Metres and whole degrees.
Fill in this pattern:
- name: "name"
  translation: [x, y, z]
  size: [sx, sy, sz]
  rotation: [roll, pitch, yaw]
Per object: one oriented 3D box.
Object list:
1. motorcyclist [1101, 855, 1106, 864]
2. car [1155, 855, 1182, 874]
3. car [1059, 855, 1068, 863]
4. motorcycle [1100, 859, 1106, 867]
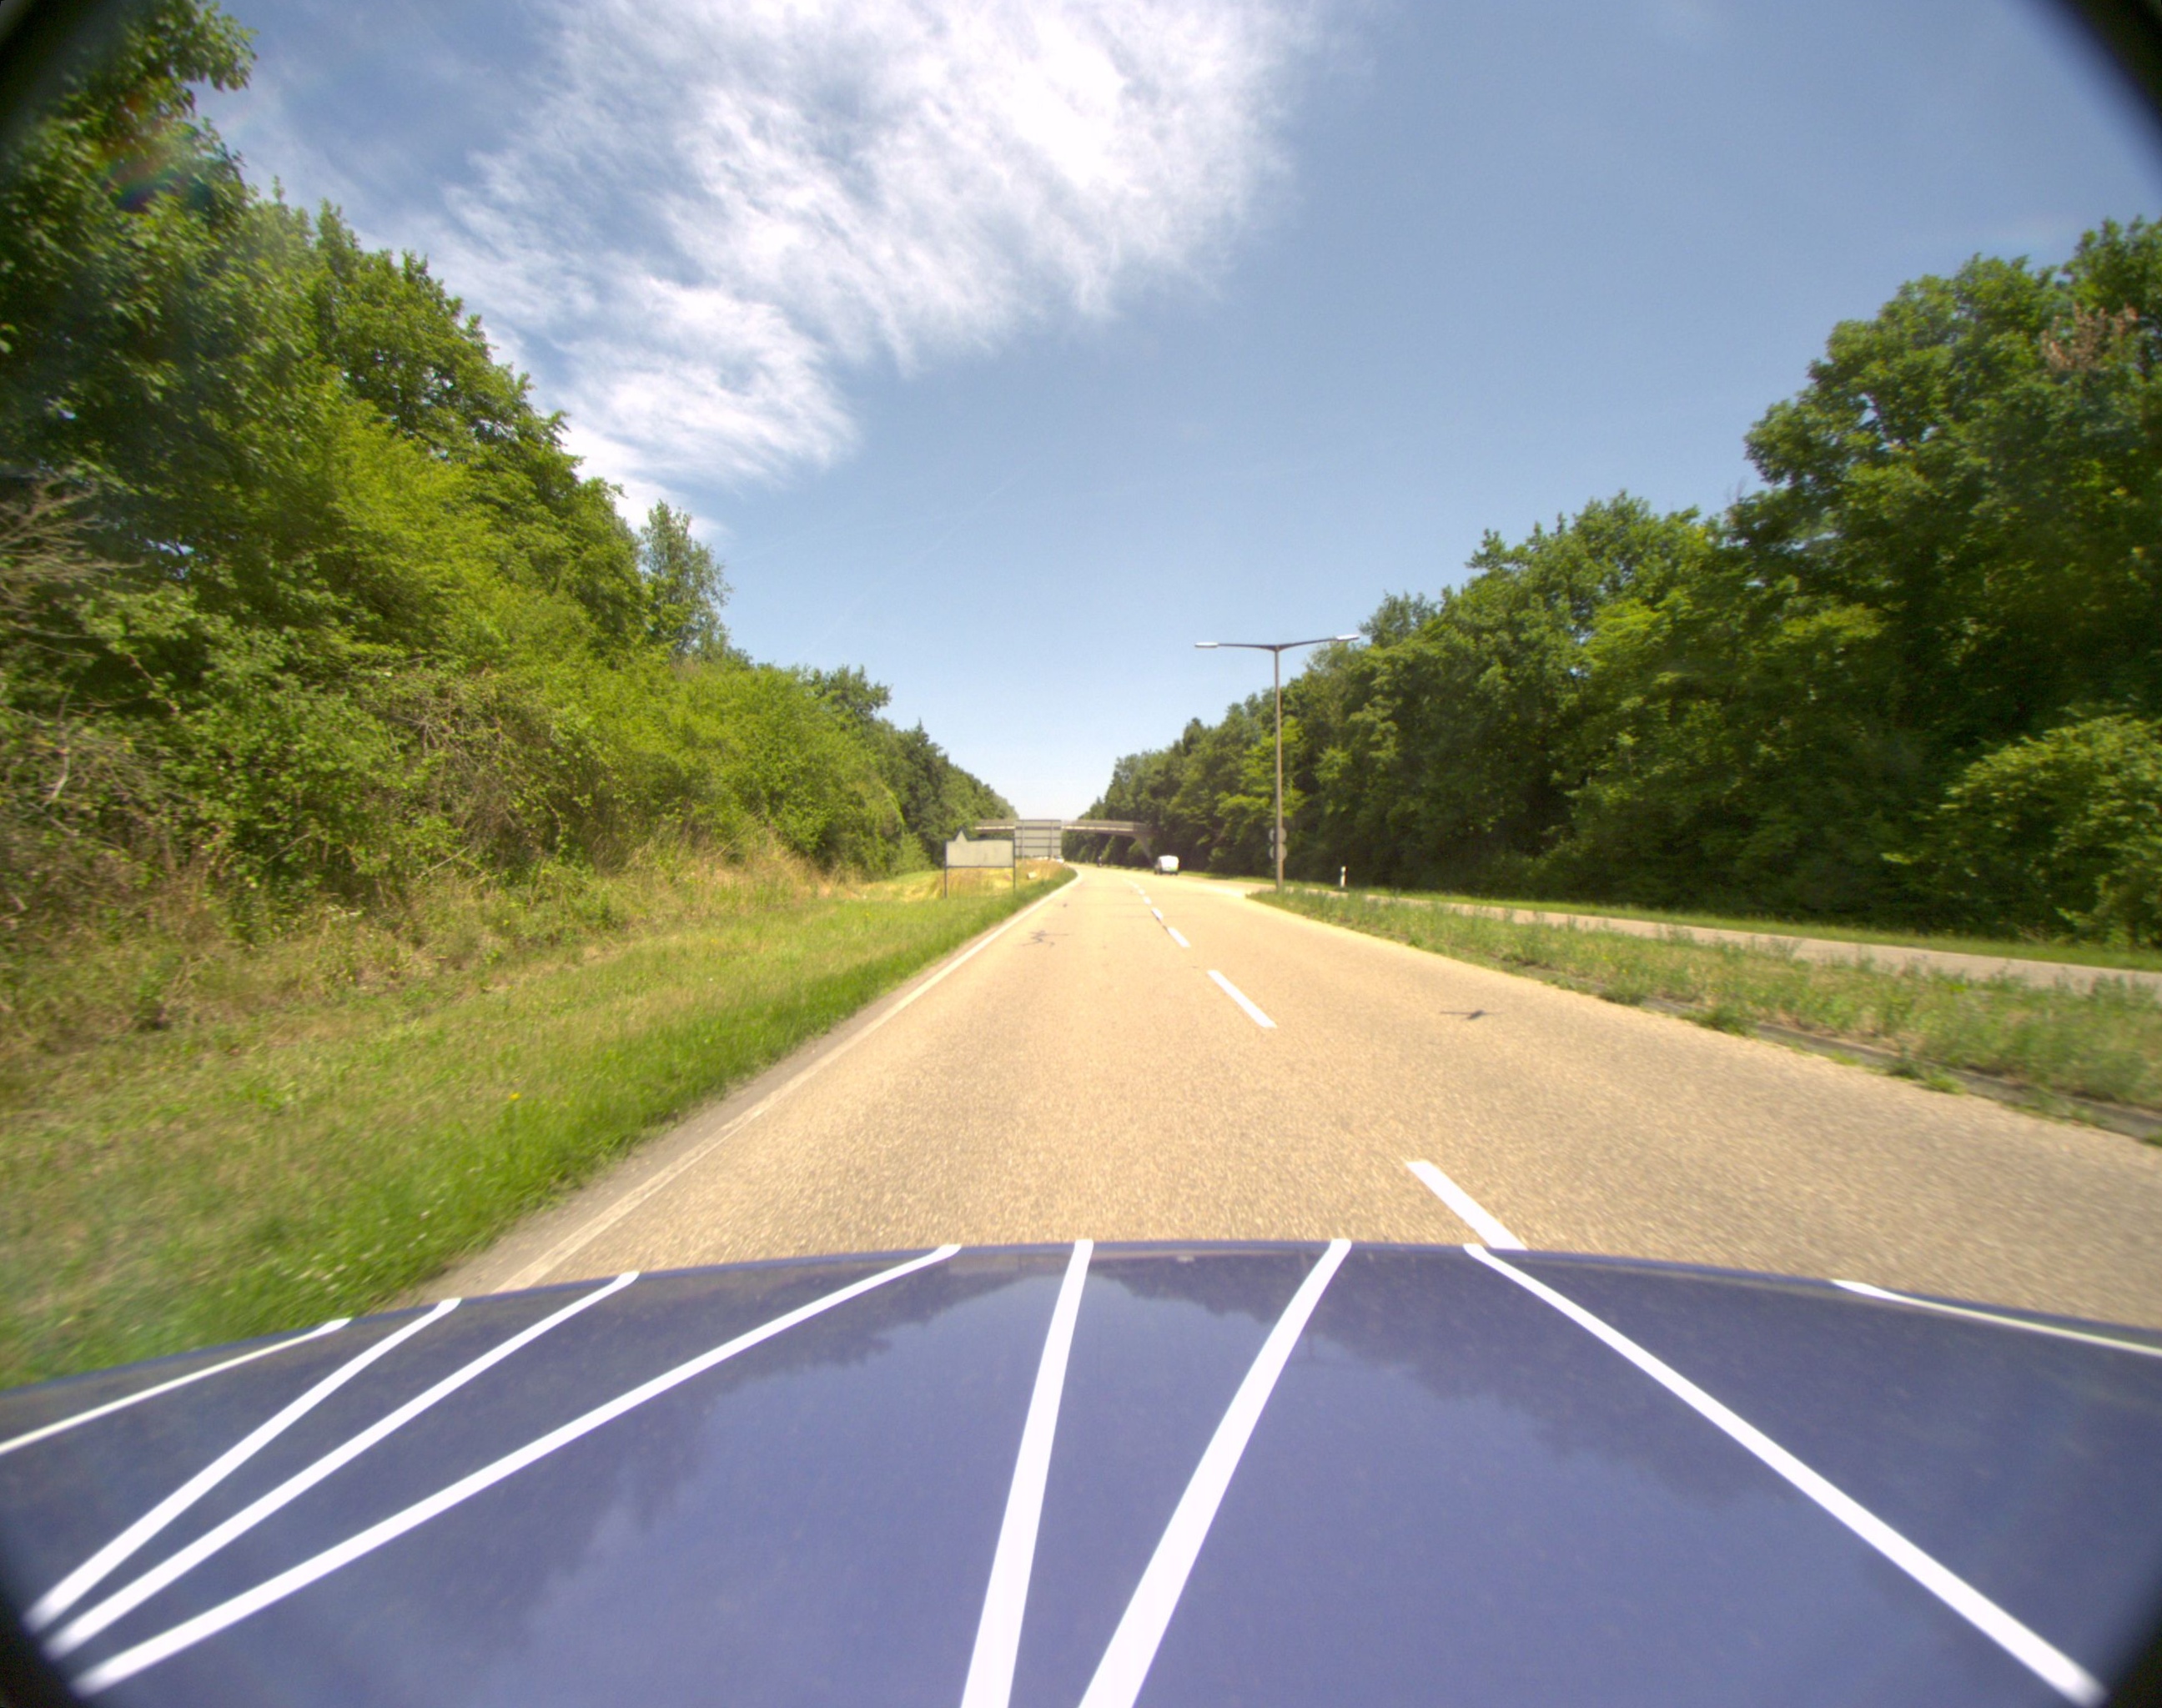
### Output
- name: "motorcyclist"
  translation: [3.669, 0.856, 124.535]
  size: [0.672, 1.467, 0.813]
  rotation: [1, 1, -7]
- name: "car"
  translation: [8.154, 0.940, 71.229]
  size: [1.737, 1.678, 4.093]
  rotation: [2, 0, -5]
- name: "car"
  translation: [-3.919, 1.072, 170.294]
  size: [1.866, 1.747, 3.998]
  rotation: [1, 0, -5]
- name: "motorcycle"
  translation: [3.637, 1.483, 124.546]
  size: [0.672, 1.167, 2.230]
  rotation: [1, 0, -6]
